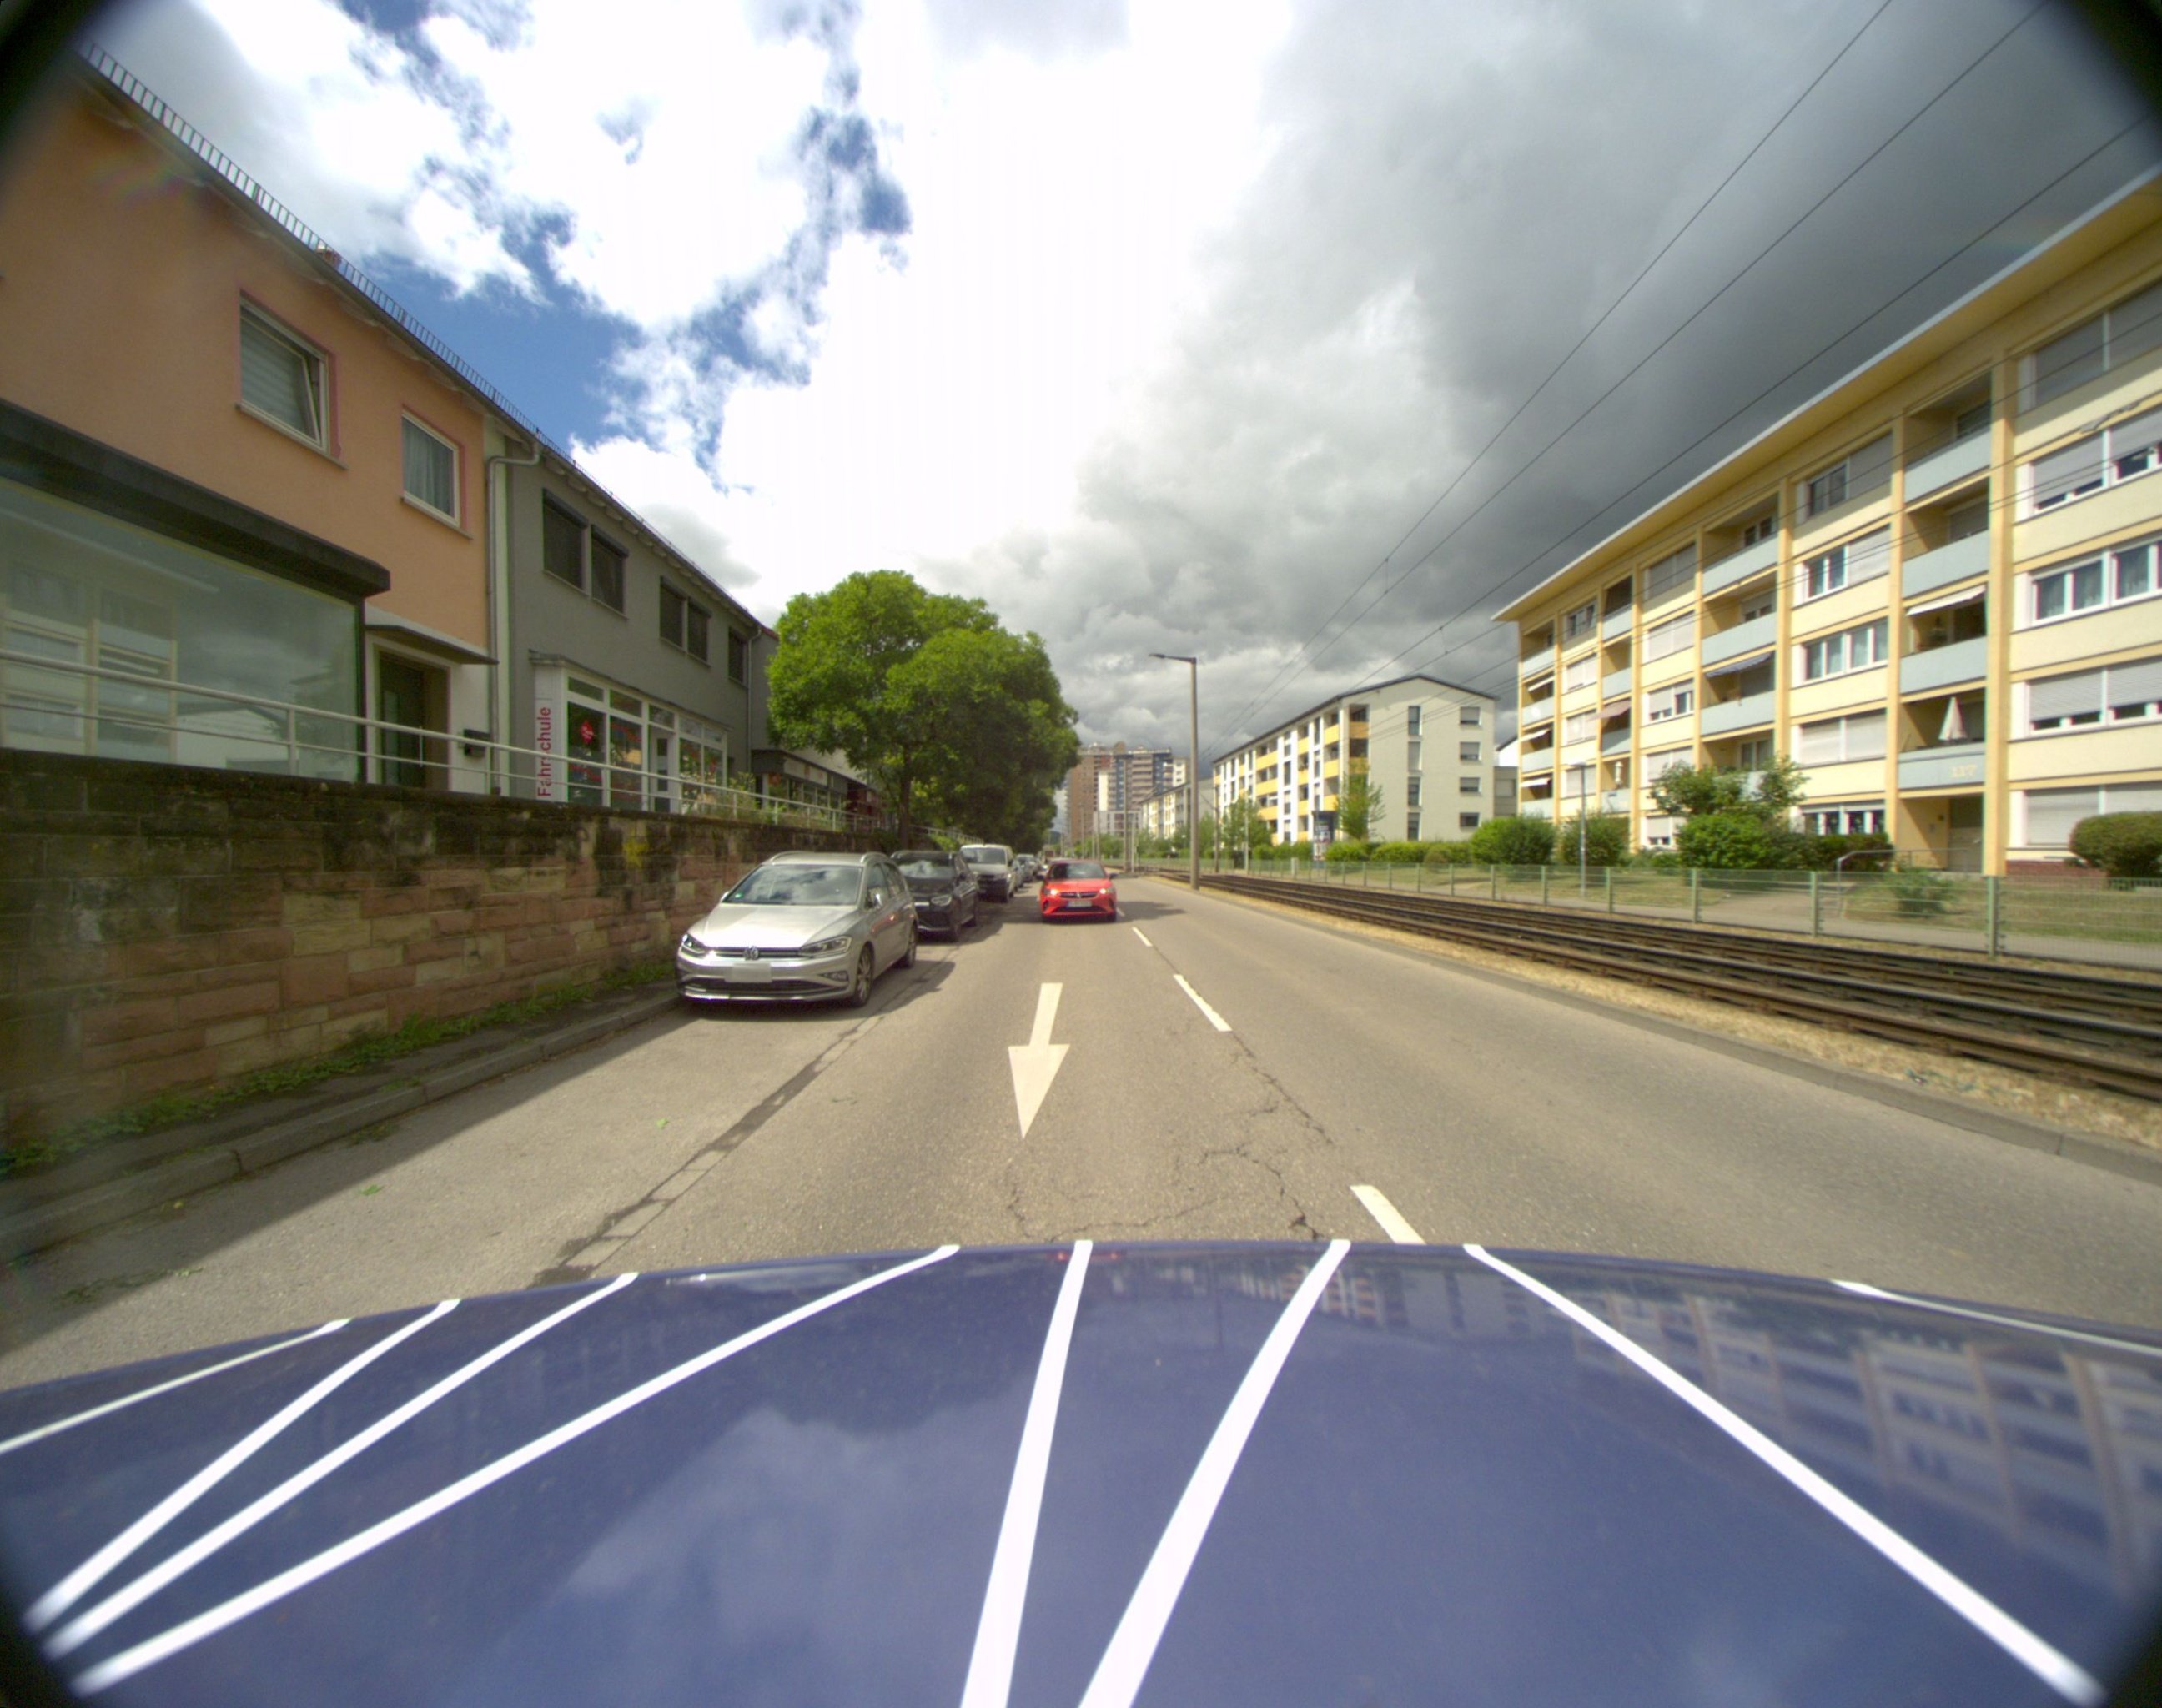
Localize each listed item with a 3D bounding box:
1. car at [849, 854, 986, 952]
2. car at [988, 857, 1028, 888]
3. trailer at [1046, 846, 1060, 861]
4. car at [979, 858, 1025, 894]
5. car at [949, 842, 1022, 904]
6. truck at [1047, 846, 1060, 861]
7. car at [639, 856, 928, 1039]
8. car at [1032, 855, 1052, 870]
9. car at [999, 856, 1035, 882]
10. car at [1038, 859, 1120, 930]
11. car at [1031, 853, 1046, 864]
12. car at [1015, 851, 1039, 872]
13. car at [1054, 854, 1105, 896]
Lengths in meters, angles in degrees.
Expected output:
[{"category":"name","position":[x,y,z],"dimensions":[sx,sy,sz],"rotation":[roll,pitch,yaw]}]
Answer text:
[{"category":"car","position":[-3.045,0.836,15.082],"dimensions":[1.794,1.608,4.447],"rotation":[1,0,-1]},{"category":"car","position":[-3.593,0.896,37.900],"dimensions":[1.785,1.420,4.143],"rotation":[-1,0,-3]},{"category":"trailer","position":[-6.578,-0.128,178.371],"dimensions":[2.875,3.428,14.613],"rotation":[-3,0,-1]},{"category":"car","position":[-3.355,0.887,32.737],"dimensions":[1.578,1.420,3.734],"rotation":[-1,0,-1]},{"category":"car","position":[-3.257,0.595,26.862],"dimensions":[1.978,1.958,5.012],"rotation":[-1,0,-1]},{"category":"truck","position":[-6.779,-0.186,186.579],"dimensions":[2.852,3.428,4.414],"rotation":[-3,0,-2]},{"category":"car","position":[-3.083,0.846,8.914],"dimensions":[1.794,1.608,4.248],"rotation":[1,0,-1]},{"category":"car","position":[-3.894,0.833,76.360],"dimensions":[1.785,1.420,4.147],"rotation":[-1,0,-1]},{"category":"car","position":[-3.737,0.863,44.775],"dimensions":[1.785,1.420,4.147],"rotation":[-1,0,-1]},{"category":"car","position":[-0.033,0.894,18.361],"dimensions":[1.723,1.434,4.000],"rotation":[-1,0,0]},{"category":"car","position":[-5.614,0.558,101.143],"dimensions":[1.785,1.420,4.146],"rotation":[-1,0,-1]},{"category":"car","position":[-4.289,0.563,60.417],"dimensions":[1.819,1.643,4.146],"rotation":[0,0,-3]},{"category":"car","position":[-0.083,0.823,31.676],"dimensions":[1.927,1.543,3.999],"rotation":[-3,0,-1]}]
